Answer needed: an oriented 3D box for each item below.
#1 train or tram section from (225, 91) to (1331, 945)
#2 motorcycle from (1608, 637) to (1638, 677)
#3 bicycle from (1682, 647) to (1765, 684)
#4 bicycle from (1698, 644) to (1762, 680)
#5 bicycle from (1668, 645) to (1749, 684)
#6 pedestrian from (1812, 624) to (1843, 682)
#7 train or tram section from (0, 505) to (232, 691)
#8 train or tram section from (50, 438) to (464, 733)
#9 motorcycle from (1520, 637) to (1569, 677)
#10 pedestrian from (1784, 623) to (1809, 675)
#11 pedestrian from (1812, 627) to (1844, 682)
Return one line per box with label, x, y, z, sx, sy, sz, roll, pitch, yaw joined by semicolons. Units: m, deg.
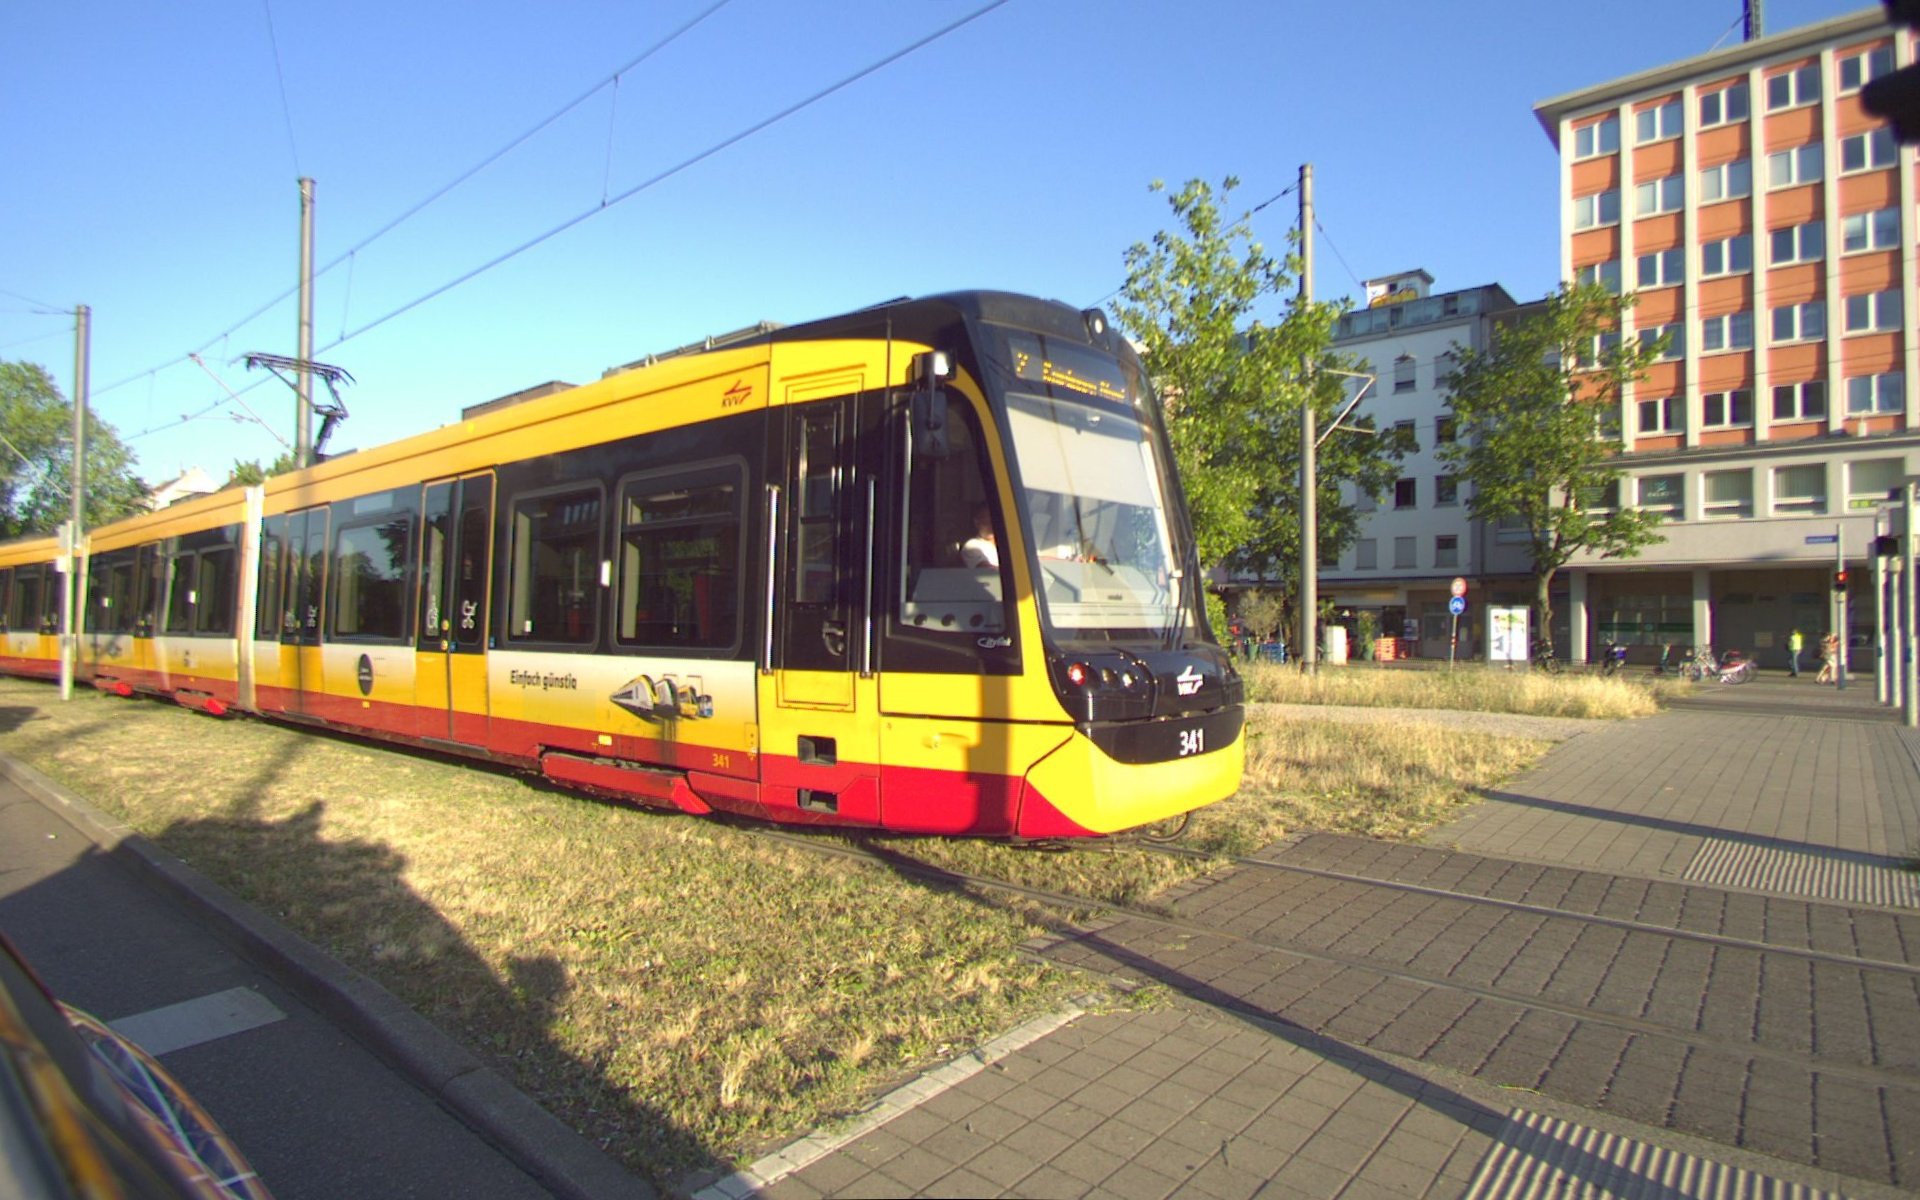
train or tram section;-3.511;-0.269;9.857;13.209;3.767;2.879;-1;-1;41
motorcycle;22.894;1.950;34.926;0.545;1.328;1.810;-1;-2;43
bicycle;23.426;2.002;31.089;1.994;1.083;0.462;-1;-2;41
bicycle;24.367;1.947;32.037;1.560;1.083;0.389;-1;-2;41
bicycle;22.150;1.885;29.976;1.906;1.083;0.462;-1;-2;41
pedestrian;27.798;1.687;32.417;0.713;1.832;0.741;-1;-2;42
train or tram section;-22.250;0.051;25.068;12.160;3.767;2.881;-1;-1;34
train or tram section;-12.996;-0.093;17.912;12.172;3.767;2.848;-1;-1;40
motorcycle;20.304;1.972;35.170;1.390;1.328;0.376;-1;-2;43
pedestrian;29.443;1.730;35.626;0.640;1.805;0.577;-1;-2;40
pedestrian;27.350;1.715;31.885;0.729;1.697;0.577;-1;-2;40
